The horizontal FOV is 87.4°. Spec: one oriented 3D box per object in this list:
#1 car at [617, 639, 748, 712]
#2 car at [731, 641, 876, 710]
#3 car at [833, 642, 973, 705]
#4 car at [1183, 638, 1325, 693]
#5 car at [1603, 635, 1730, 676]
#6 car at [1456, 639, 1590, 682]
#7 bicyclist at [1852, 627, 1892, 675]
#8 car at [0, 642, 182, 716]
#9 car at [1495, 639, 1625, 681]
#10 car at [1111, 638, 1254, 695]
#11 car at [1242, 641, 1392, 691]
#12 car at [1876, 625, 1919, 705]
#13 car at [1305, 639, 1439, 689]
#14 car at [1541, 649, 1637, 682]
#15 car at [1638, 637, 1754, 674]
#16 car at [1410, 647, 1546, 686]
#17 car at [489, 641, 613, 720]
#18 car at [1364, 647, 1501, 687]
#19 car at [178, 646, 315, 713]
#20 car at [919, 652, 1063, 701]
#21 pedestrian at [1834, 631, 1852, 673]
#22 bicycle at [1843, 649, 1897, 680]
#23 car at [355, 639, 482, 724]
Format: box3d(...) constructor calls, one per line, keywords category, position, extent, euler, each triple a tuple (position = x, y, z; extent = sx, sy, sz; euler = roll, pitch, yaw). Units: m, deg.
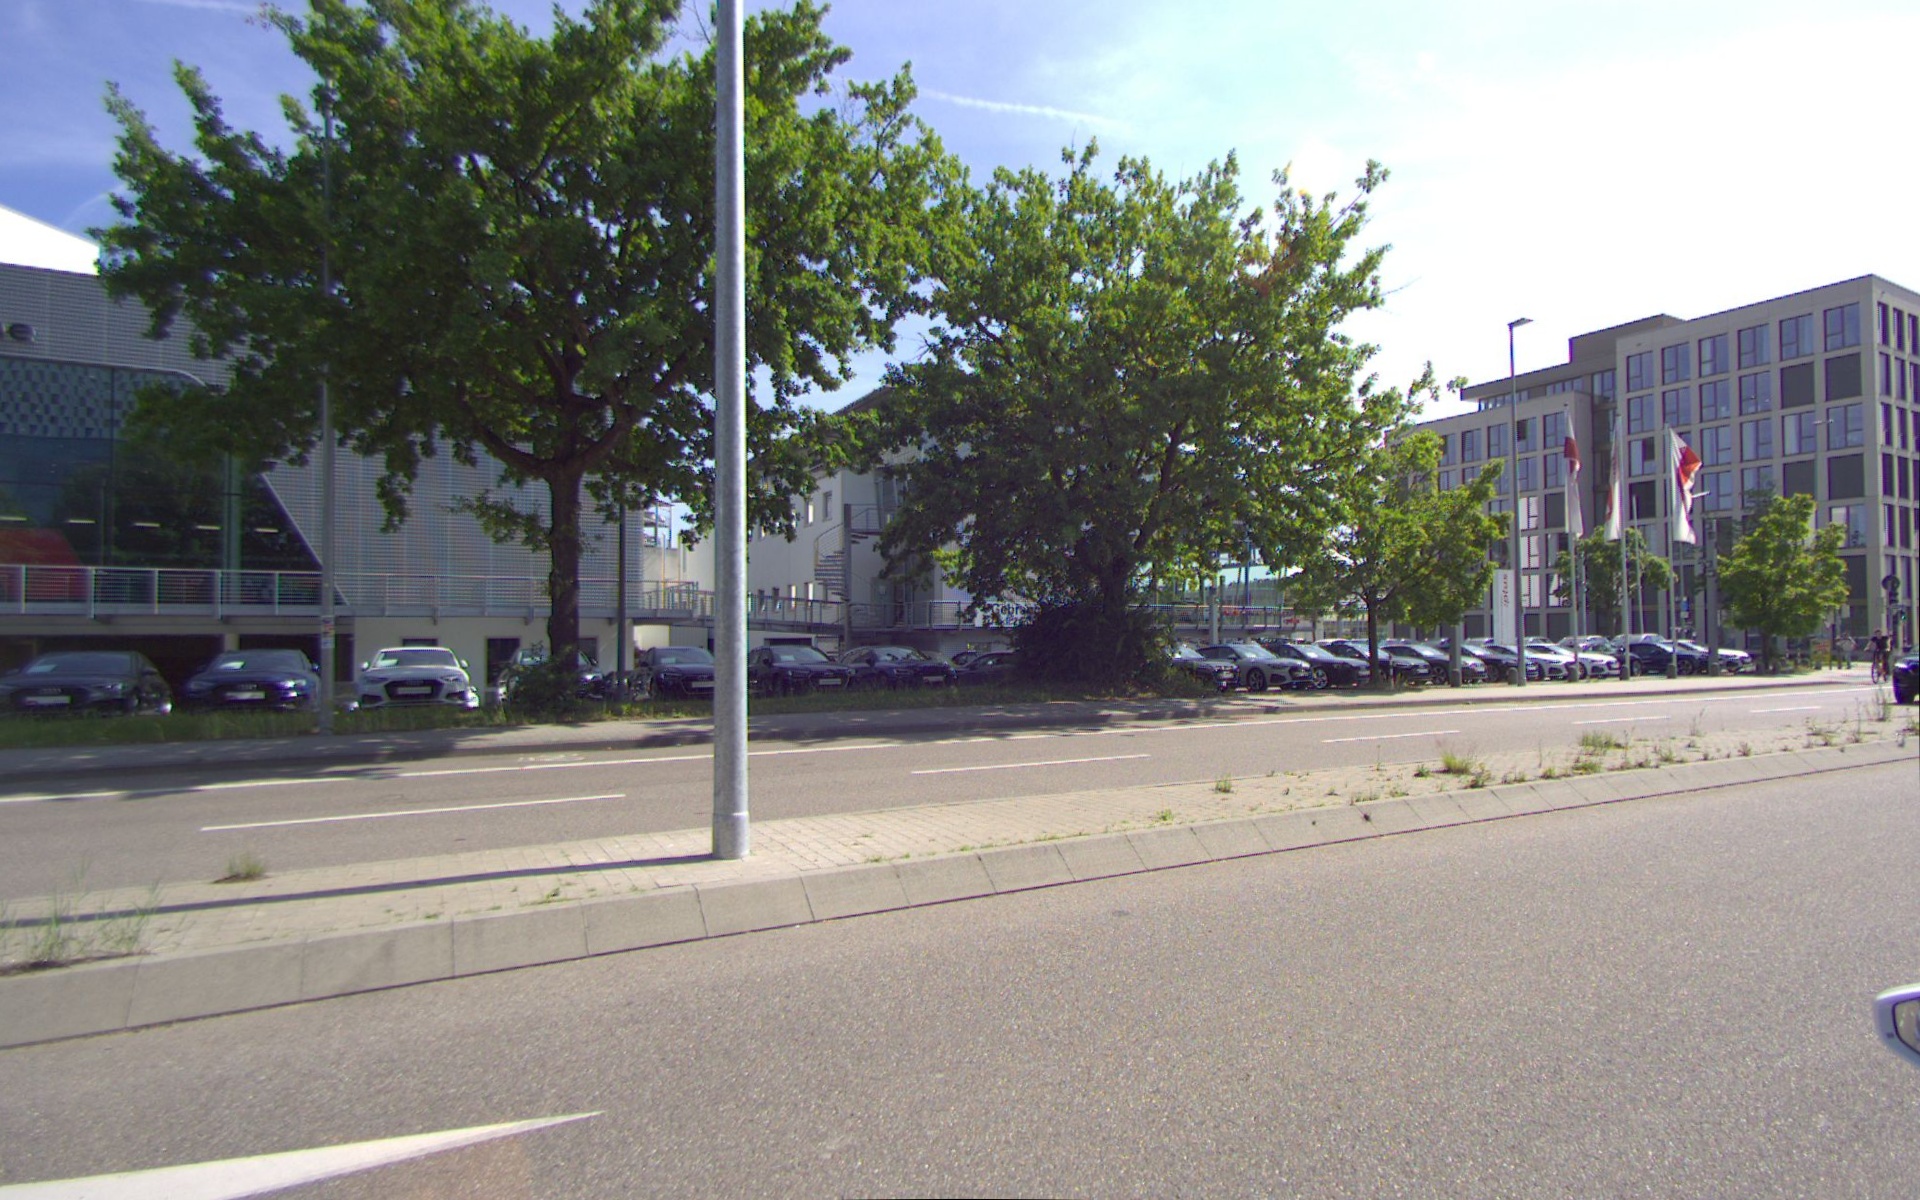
box3d(category="car", position=(-6.314, 1.748, 22.520), extent=(1.975, 1.460, 4.125), euler=(1, -6, -28))
box3d(category="car", position=(-3.811, 1.834, 23.737), extent=(2.027, 1.460, 4.288), euler=(1, -6, -29))
box3d(category="car", position=(-1.511, 1.867, 24.937), extent=(1.975, 1.376, 3.973), euler=(1, -6, -28))
box3d(category="car", position=(8.588, 1.969, 29.664), extent=(1.886, 1.437, 3.865), euler=(0, -5, -25))
box3d(category="car", position=(29.240, 2.324, 41.685), extent=(1.844, 1.483, 3.862), euler=(0, -5, -27))
box3d(category="car", position=(20.390, 2.236, 36.569), extent=(1.824, 1.350, 3.865), euler=(0, -5, -25))
box3d(category="bicyclist", position=(29.859, 1.672, 32.881), extent=(1.023, 1.546, 0.616), euler=(1, -3, -29))
box3d(category="car", position=(-14.832, 1.379, 17.143), extent=(1.933, 1.091, 4.155), euler=(1, -6, -31))
box3d(category="car", position=(22.571, 2.305, 37.954), extent=(1.725, 1.382, 3.865), euler=(0, -5, -25))
box3d(category="car", position=(6.221, 1.920, 28.567), extent=(1.886, 1.437, 3.977), euler=(0, -5, -25))
box3d(category="car", position=(11.015, 2.089, 31.292), extent=(2.010, 1.348, 4.156), euler=(0, -5, -25))
box3d(category="car", position=(21.762, 1.366, 21.739), extent=(4.163, 1.639, 1.730), euler=(1, -5, -32))
box3d(category="car", position=(13.267, 2.119, 32.547), extent=(1.637, 1.437, 3.865), euler=(0, -5, -25))
box3d(category="car", position=(25.478, 2.634, 40.686), extent=(3.387, 1.189, 1.850), euler=(0, -5, -29))
box3d(category="car", position=(31.352, 2.386, 42.895), extent=(1.620, 1.375, 3.581), euler=(0, -5, -28))
box3d(category="car", position=(18.062, 2.341, 35.188), extent=(1.886, 1.181, 3.865), euler=(0, -5, -25))
box3d(category="car", position=(-8.680, 1.730, 21.128), extent=(1.975, 1.460, 4.234), euler=(1, -6, -28))
box3d(category="car", position=(15.757, 2.263, 33.689), extent=(1.771, 1.167, 3.865), euler=(0, -5, -25))
box3d(category="car", position=(-12.839, 1.480, 18.284), extent=(1.677, 1.047, 4.090), euler=(1, -6, -31))
box3d(category="car", position=(0.896, 2.278, 29.745), extent=(3.930, 1.272, 1.588), euler=(-5, -5, 30))
box3d(category="pedestrian", position=(44.191, 2.592, 50.275), extent=(0.571, 2.040, 0.554), euler=(1, -1, -37))
box3d(category="bicycle", position=(29.755, 2.103, 32.837), extent=(1.949, 0.953, 0.677), euler=(1, -3, -29))
box3d(category="car", position=(-10.532, 1.615, 19.605), extent=(1.975, 1.460, 3.973), euler=(1, -6, -28))
